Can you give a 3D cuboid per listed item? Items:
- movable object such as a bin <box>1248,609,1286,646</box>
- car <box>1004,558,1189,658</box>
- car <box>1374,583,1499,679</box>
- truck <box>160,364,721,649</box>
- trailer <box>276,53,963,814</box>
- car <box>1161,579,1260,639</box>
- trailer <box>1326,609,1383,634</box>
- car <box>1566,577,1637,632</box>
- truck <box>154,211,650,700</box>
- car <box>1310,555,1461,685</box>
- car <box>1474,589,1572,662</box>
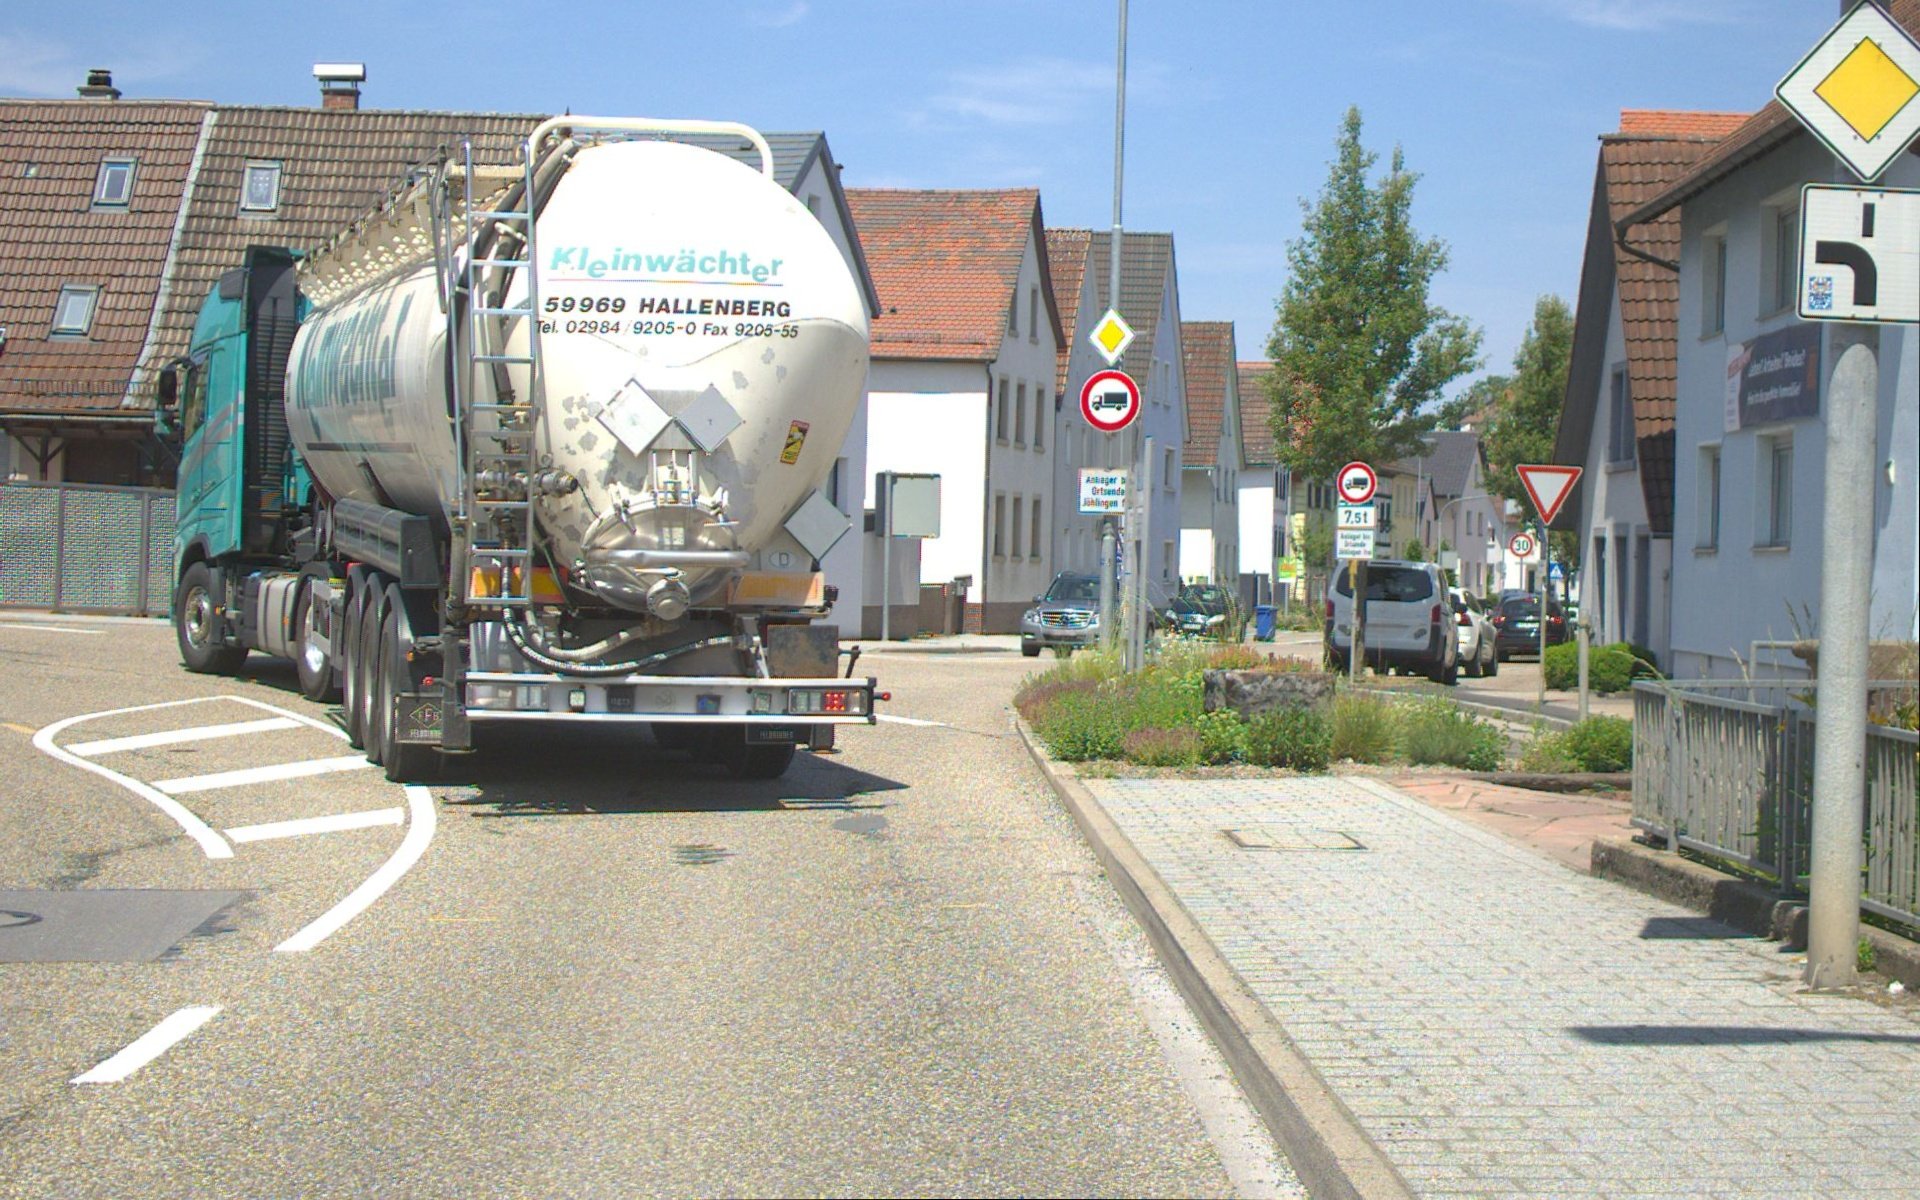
[{"bbox_3d":[9.119,0.799,102.031,0.920,1.045,0.943,3,1,15],"label":"movable object such as a bin"},{"bbox_3d":[2.592,0.179,64.225,1.996,1.669,4.307,3,0,23],"label":"car"},{"bbox_3d":[8.748,0.546,62.867,1.818,1.629,4.205,2,0,13],"label":"car"},{"bbox_3d":[-6.542,-1.105,44.524,2.666,3.170,7.447,2,-1,35],"label":"truck"},{"bbox_3d":[-2.917,-0.972,24.137,2.951,3.934,11.622,3,0,-14],"label":"trailer"},{"bbox_3d":[7.093,0.250,97.020,1.719,1.590,3.996,3,1,20],"label":"car"},{"bbox_3d":[14.372,0.766,125.343,1.951,0.775,2.720,3,0,5],"label":"trailer"},{"bbox_3d":[19.917,0.136,106.645,1.995,1.579,3.998,2,1,12],"label":"car"},{"bbox_3d":[-5.205,-1.226,31.221,2.987,3.951,5.580,2,1,-24],"label":"truck"},{"bbox_3d":[6.890,0.363,55.323,1.994,1.906,4.322,3,-1,11],"label":"car"},{"bbox_3d":[13.186,0.572,80.405,1.995,1.579,3.998,3,1,12],"label":"car"}]
